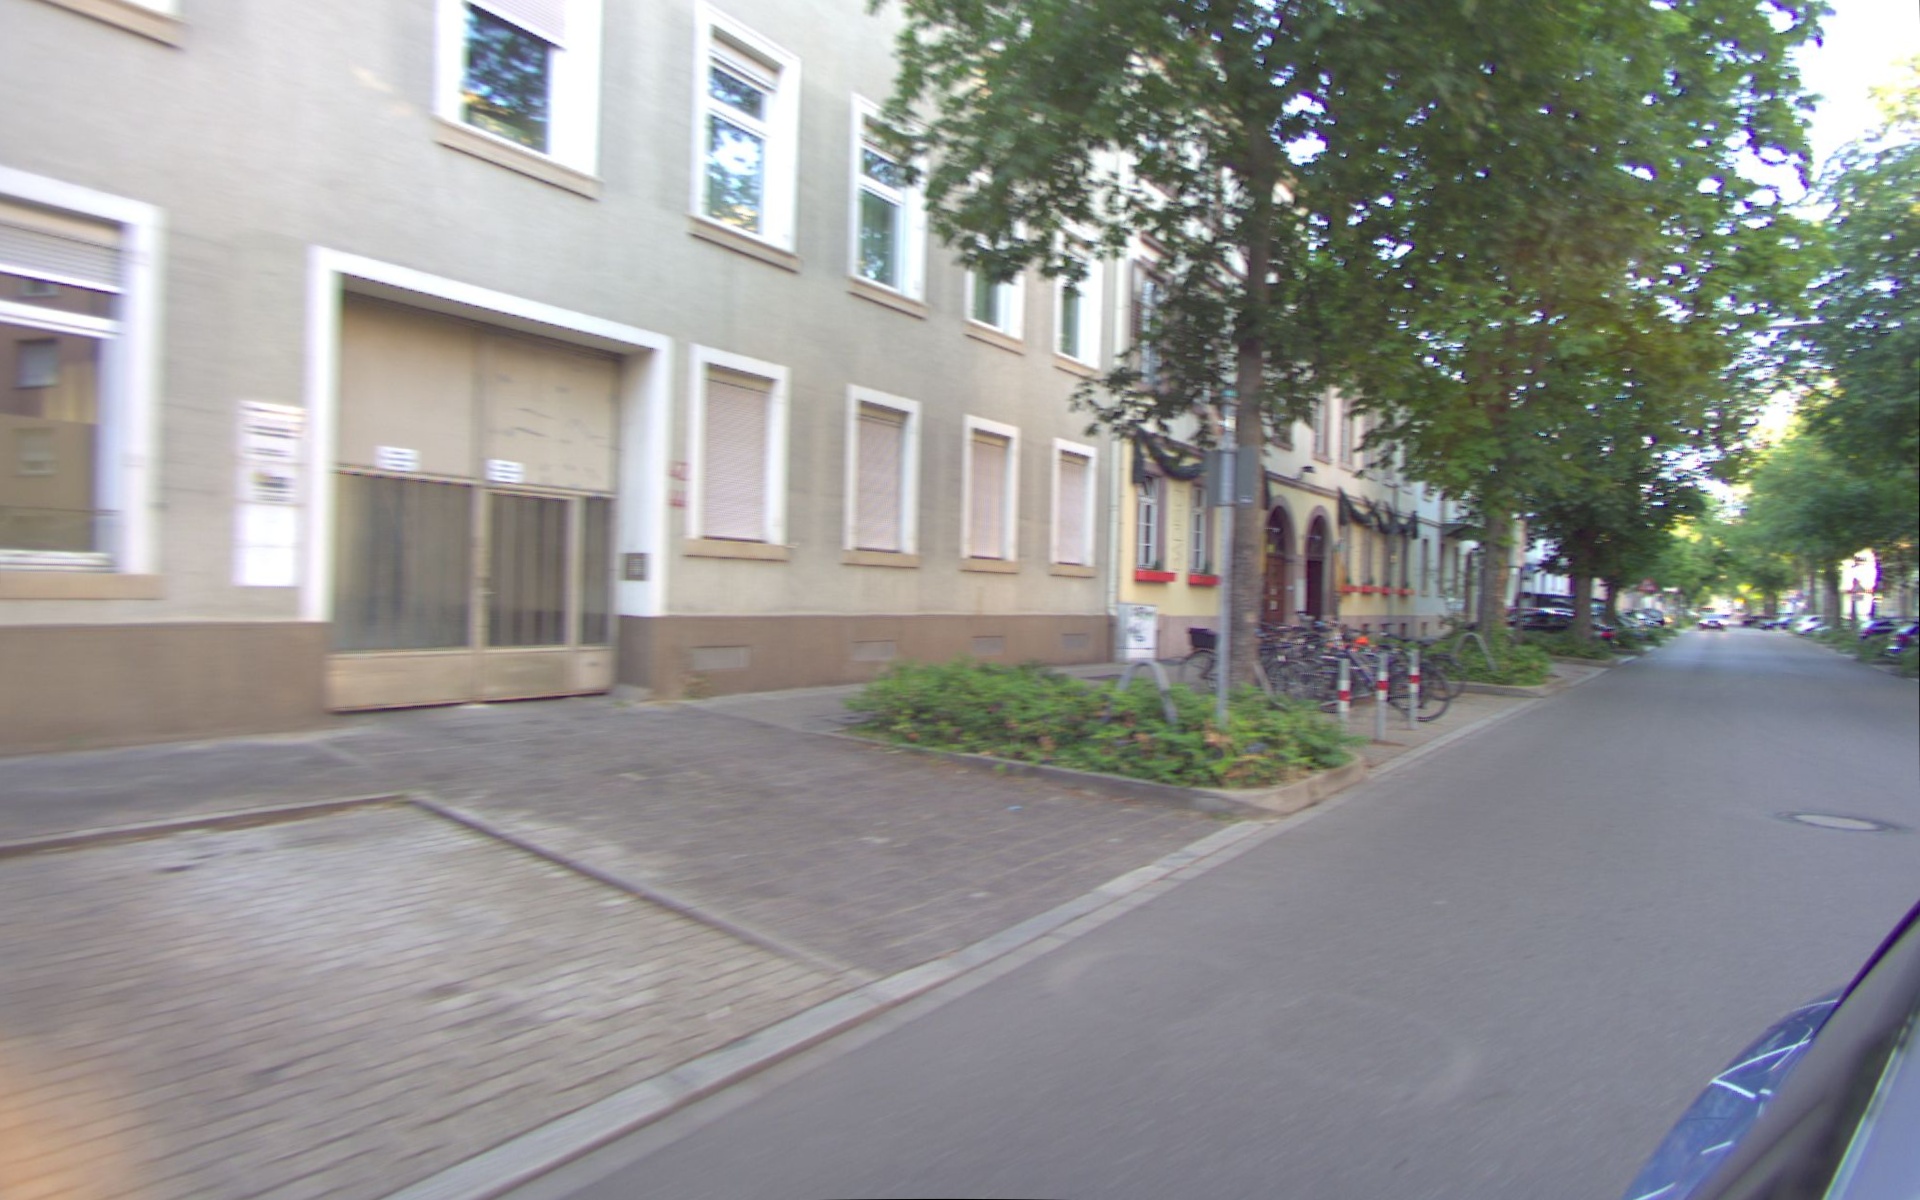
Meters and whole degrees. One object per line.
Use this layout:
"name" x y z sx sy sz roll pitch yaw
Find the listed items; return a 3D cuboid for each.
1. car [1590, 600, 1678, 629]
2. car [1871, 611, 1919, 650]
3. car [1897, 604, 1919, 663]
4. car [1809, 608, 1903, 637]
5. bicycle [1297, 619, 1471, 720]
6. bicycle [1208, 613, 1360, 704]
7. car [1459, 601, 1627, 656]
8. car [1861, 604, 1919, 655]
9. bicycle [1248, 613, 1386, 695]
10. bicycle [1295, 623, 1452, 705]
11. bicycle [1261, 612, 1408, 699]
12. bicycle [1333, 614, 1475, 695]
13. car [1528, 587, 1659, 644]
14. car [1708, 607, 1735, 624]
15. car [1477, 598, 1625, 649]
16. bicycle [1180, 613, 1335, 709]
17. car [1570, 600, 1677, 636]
"car" 41.890 0.895 62.940 4.425 1.633 1.751 2 1 40
"car" 38.531 1.237 39.700 4.015 1.501 1.751 2 1 40
"car" 30.757 1.083 29.861 4.425 1.760 1.751 2 1 40
"car" 57.905 1.449 65.531 4.425 1.668 1.751 2 1 40
"bicycle" 5.509 0.869 13.241 2.032 1.160 0.440 2 1 40
"bicycle" 4.605 0.800 14.497 2.031 1.160 0.415 2 1 38
"car" 18.595 0.854 32.391 4.425 1.524 1.751 2 1 40
"car" 34.721 1.088 35.565 4.425 1.760 1.751 2 1 40
"bicycle" 5.665 0.829 16.140 2.031 1.160 0.415 2 1 38
"bicycle" 5.871 0.886 14.466 2.031 1.016 0.415 2 1 38
"bicycle" 5.639 0.807 15.331 2.031 1.160 0.415 2 1 38
"bicycle" 7.124 0.852 16.309 2.031 1.160 0.415 2 1 38
"car" 26.326 0.618 42.110 4.425 2.150 1.751 2 0 40
"car" 66.123 1.303 87.880 1.818 1.389 3.945 2 1 37
"car" 21.558 0.816 37.014 4.425 1.633 1.751 2 1 40
"bicycle" 4.049 0.797 13.894 2.034 1.160 0.439 2 1 42
"car" 34.104 0.902 52.102 4.425 1.633 1.751 2 1 40
